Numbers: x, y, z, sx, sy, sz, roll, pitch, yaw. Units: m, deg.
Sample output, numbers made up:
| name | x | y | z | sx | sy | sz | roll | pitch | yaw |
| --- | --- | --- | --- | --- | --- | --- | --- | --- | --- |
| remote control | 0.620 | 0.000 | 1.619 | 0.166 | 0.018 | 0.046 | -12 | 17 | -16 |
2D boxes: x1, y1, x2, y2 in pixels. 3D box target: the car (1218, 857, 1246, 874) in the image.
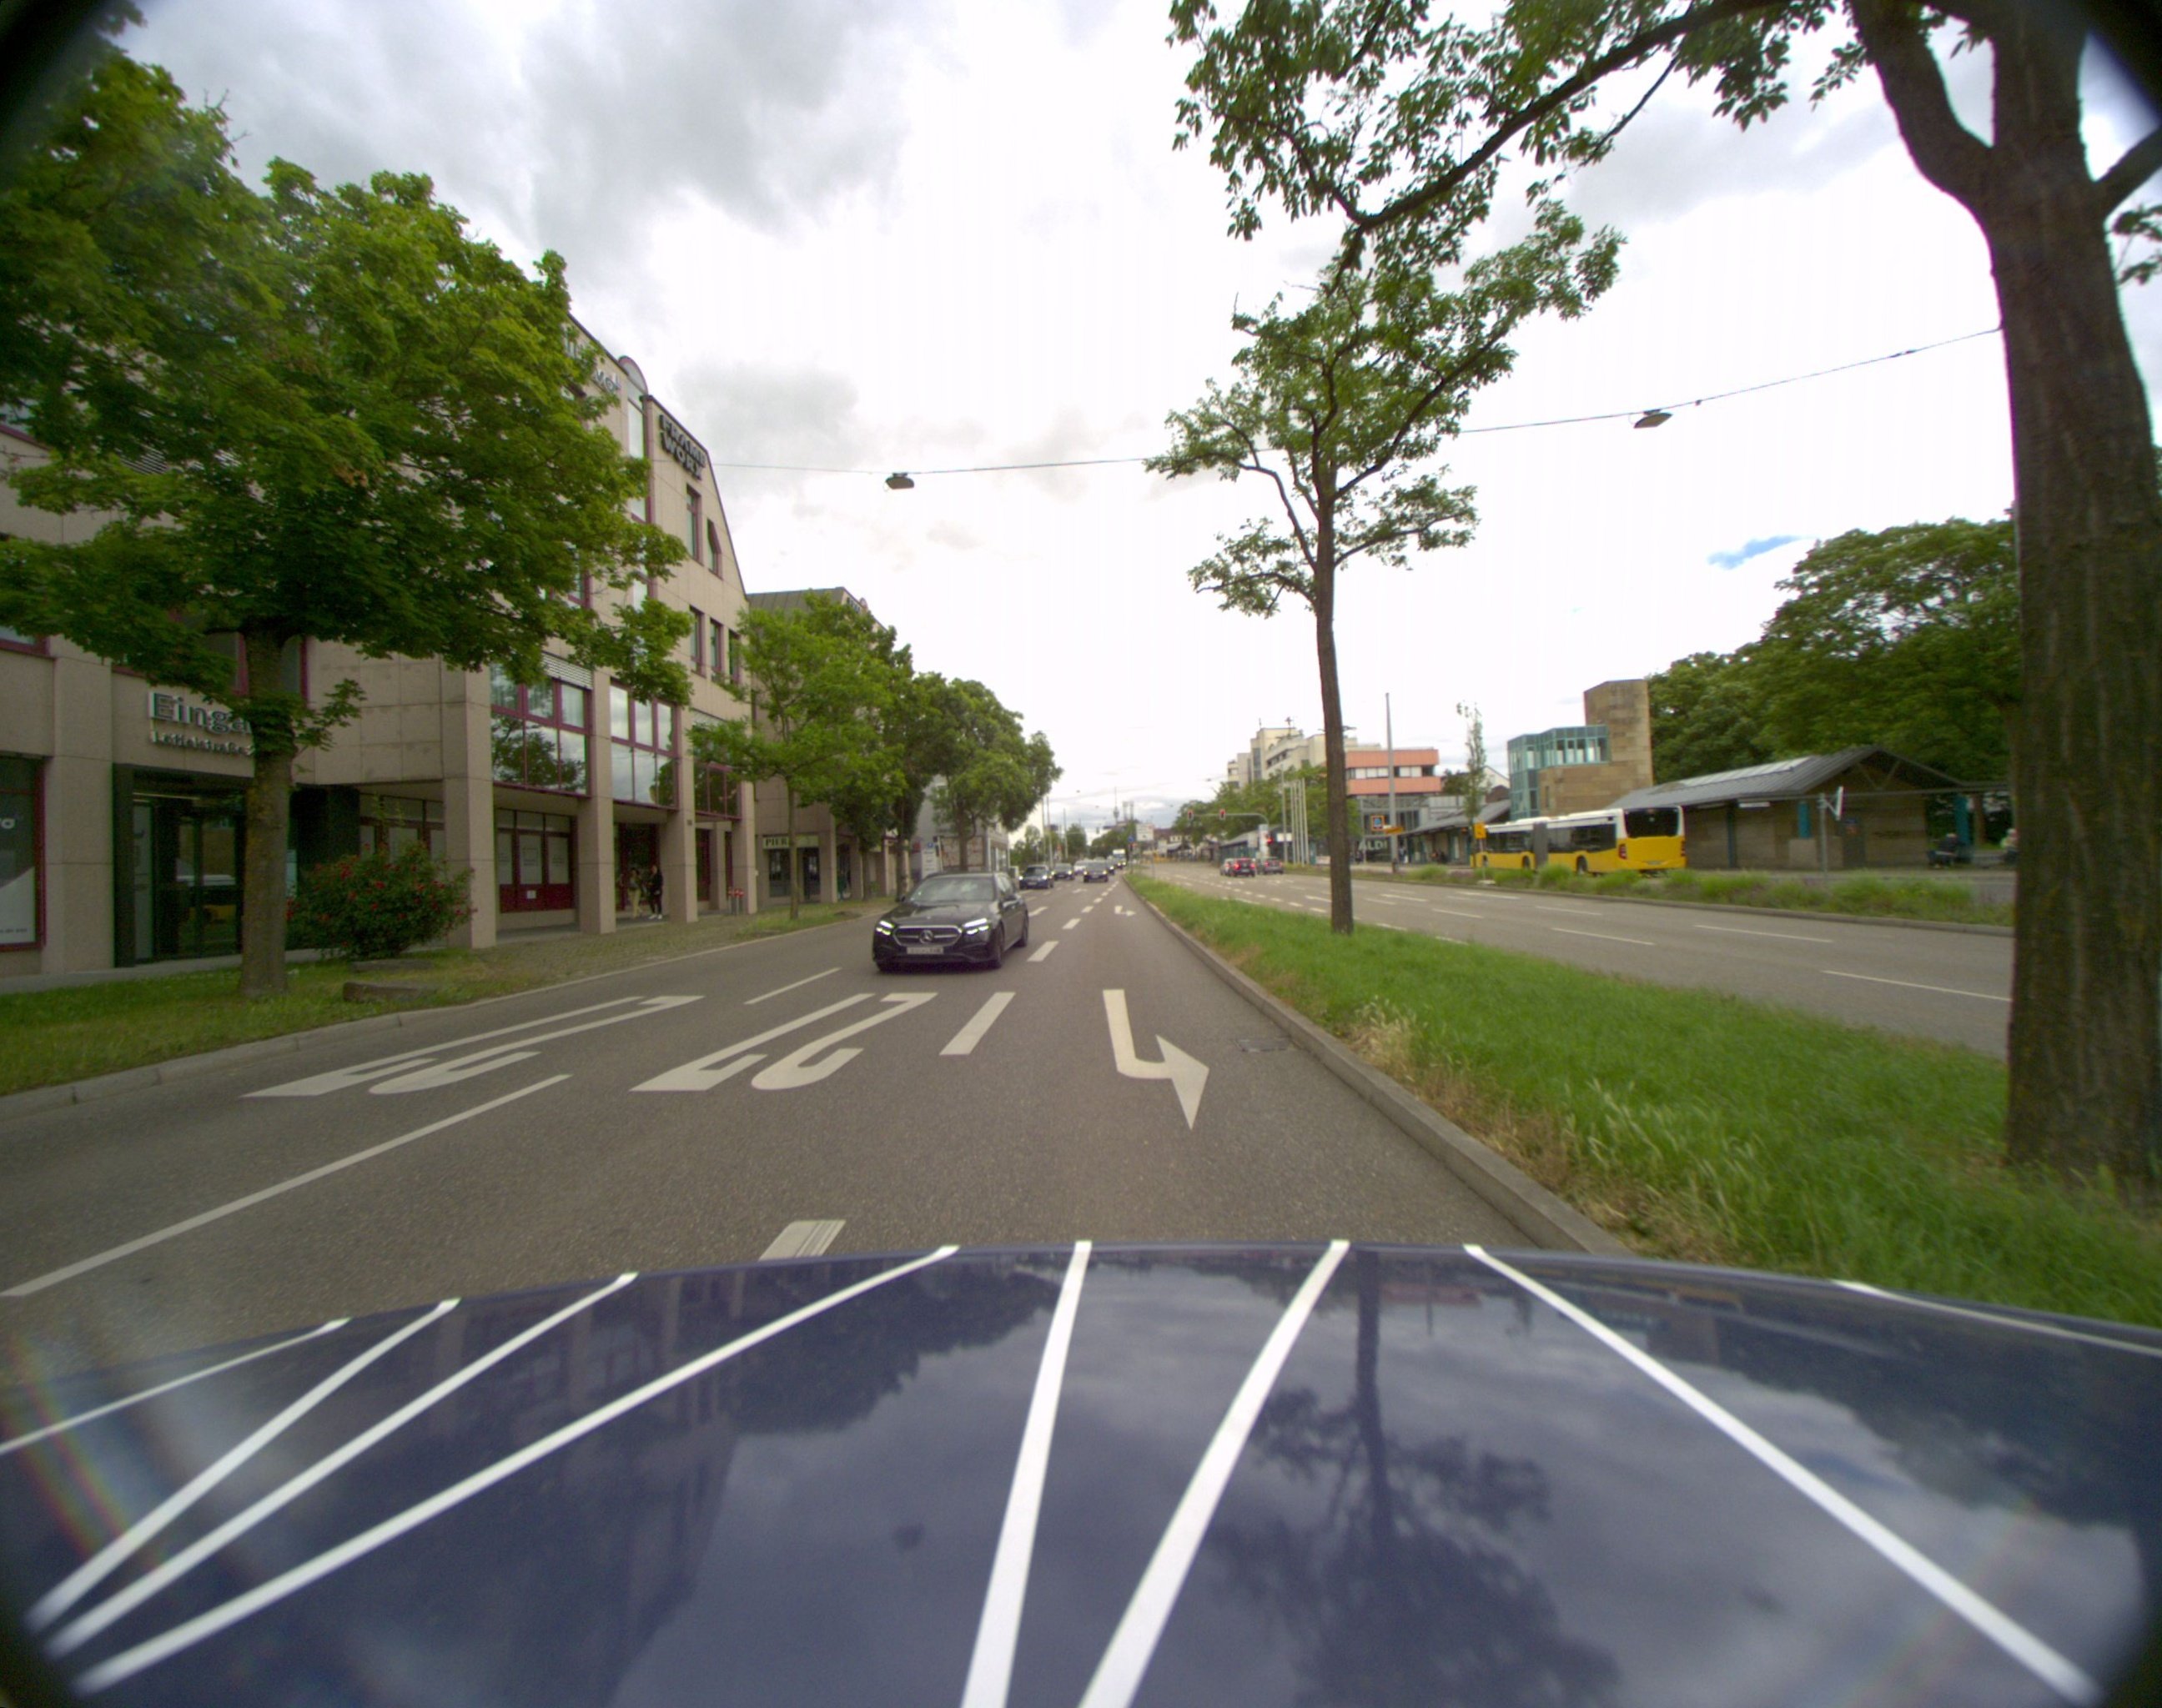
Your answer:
| name | x | y | z | sx | sy | sz | roll | pitch | yaw |
| --- | --- | --- | --- | --- | --- | --- | --- | --- | --- |
| car | 13.360 | 1.035 | 67.510 | 1.749 | 1.456 | 3.791 | -2 | -1 | 1 |

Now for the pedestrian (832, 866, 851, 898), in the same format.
| name | x | y | z | sx | sy | sz | roll | pitch | yaw |
| --- | --- | --- | --- | --- | --- | --- | --- | --- | --- |
| pedestrian | -12.597 | 1.453 | 39.950 | 0.659 | 1.681 | 0.843 | 0 | 0 | 4 |

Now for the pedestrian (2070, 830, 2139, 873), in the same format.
| name | x | y | z | sx | sy | sz | roll | pitch | yaw |
| --- | --- | --- | --- | --- | --- | --- | --- | --- | --- |
| pedestrian | 31.135 | -0.076 | 23.128 | 0.895 | 1.247 | 0.858 | -2 | 0 | 1 |

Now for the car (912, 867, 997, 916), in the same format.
| name | x | y | z | sx | sy | sz | roll | pitch | yaw |
| --- | --- | --- | --- | --- | --- | --- | --- | --- | --- |
| car | -4.342 | 1.248 | 26.818 | 1.798 | 1.464 | 4.701 | -2 | 0 | 5 |

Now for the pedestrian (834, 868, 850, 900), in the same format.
| name | x | y | z | sx | sy | sz | roll | pitch | yaw |
| --- | --- | --- | --- | --- | --- | --- | --- | --- | --- |
| pedestrian | -11.977 | 1.498 | 38.089 | 0.562 | 1.541 | 0.544 | 0 | 0 | 4 |

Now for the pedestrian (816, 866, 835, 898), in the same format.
| name | x | y | z | sx | sy | sz | roll | pitch | yaw |
| --- | --- | --- | --- | --- | --- | --- | --- | --- | --- |
| pedestrian | -13.452 | 1.465 | 39.957 | 0.659 | 1.681 | 0.843 | 0 | 0 | 4 |

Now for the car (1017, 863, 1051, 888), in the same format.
| name | x | y | z | sx | sy | sz | roll | pitch | yaw |
| --- | --- | --- | --- | --- | --- | --- | --- | --- | --- |
| car | -2.857 | 1.291 | 47.054 | 1.972 | 1.430 | 4.312 | 0 | 0 | -2 |

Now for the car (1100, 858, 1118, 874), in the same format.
| name | x | y | z | sx | sy | sz | roll | pitch | yaw |
| --- | --- | --- | --- | --- | --- | --- | --- | --- | --- |
| car | 2.903 | 1.240 | 79.611 | 1.763 | 1.531 | 4.048 | -1 | 0 | 1 |

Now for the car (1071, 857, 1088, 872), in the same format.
| name | x | y | z | sx | sy | sz | roll | pitch | yaw |
| --- | --- | --- | --- | --- | --- | --- | --- | --- | --- |
| car | -0.183 | 1.202 | 86.403 | 1.763 | 1.625 | 4.156 | -1 | 0 | 1 |

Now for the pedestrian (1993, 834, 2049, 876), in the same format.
| name | x | y | z | sx | sy | sz | roll | pitch | yaw |
| --- | --- | --- | --- | --- | --- | --- | --- | --- | --- |
| pedestrian | 29.484 | 0.039 | 23.842 | 0.859 | 1.282 | 0.894 | -2 | 0 | -23 |

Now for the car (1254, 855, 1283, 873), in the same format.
| name | x | y | z | sx | sy | sz | roll | pitch | yaw |
| --- | --- | --- | --- | --- | --- | --- | --- | --- | --- |
| car | 16.527 | 0.887 | 67.040 | 1.819 | 1.499 | 4.001 | -2 | 0 | 5 |

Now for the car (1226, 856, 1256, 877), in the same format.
| name | x | y | z | sx | sy | sz | roll | pitch | yaw |
| --- | --- | --- | --- | --- | --- | --- | --- | --- | --- |
| car | 12.842 | 0.980 | 61.136 | 1.662 | 1.499 | 3.769 | -2 | 0 | 1 |

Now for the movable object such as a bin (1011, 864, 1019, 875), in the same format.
| name | x | y | z | sx | sy | sz | roll | pitch | yaw |
| --- | --- | --- | --- | --- | --- | --- | --- | --- | --- |
| movable object such as a bin | -6.553 | 1.518 | 75.319 | 0.610 | 1.097 | 0.710 | -2 | 0 | 3 |

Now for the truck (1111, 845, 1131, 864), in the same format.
| name | x | y | z | sx | sy | sz | roll | pitch | yaw |
| --- | --- | --- | --- | --- | --- | --- | --- | --- | --- |
| truck | 7.171 | 0.148 | 138.360 | 3.119 | 3.208 | 6.524 | -2 | 0 | -1 |

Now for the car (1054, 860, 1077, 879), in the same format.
| name | x | y | z | sx | sy | sz | roll | pitch | yaw |
| --- | --- | --- | --- | --- | --- | --- | --- | --- | --- |
| car | -1.298 | 1.275 | 64.320 | 1.769 | 1.440 | 4.419 | -2 | 0 | -1 |

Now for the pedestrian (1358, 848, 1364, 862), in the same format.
| name | x | y | z | sx | sy | sz | roll | pitch | yaw |
| --- | --- | --- | --- | --- | --- | --- | --- | --- | --- |
| pedestrian | 32.705 | 0.126 | 88.875 | 0.485 | 1.539 | 0.383 | -2 | 0 | -8 |

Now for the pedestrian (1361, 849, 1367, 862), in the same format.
| name | x | y | z | sx | sy | sz | roll | pitch | yaw |
| --- | --- | --- | --- | --- | --- | --- | --- | --- | --- |
| pedestrian | 33.294 | 0.190 | 89.361 | 0.485 | 1.539 | 0.383 | -3 | 0 | -19 |

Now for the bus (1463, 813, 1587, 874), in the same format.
| name | x | y | z | sx | sy | sz | roll | pitch | yaw |
| --- | --- | --- | --- | --- | --- | --- | --- | --- | --- |
| bus | 26.143 | -0.537 | 45.454 | 2.781 | 3.113 | 9.444 | -4 | -1 | 7 |

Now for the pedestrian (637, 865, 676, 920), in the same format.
| name | x | y | z | sx | sy | sz | roll | pitch | yaw |
| --- | --- | --- | --- | --- | --- | --- | --- | --- | --- |
| pedestrian | -13.488 | 1.217 | 24.179 | 0.596 | 1.695 | 0.970 | -2 | 0 | 5 |

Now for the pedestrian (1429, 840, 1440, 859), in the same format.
| name | x | y | z | sx | sy | sz | roll | pitch | yaw |
| --- | --- | --- | --- | --- | --- | --- | --- | --- | --- |
| pedestrian | 30.388 | -0.366 | 65.349 | 0.621 | 1.640 | 0.658 | -2 | 0 | 5 |

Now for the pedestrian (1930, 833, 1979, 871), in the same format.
| name | x | y | z | sx | sy | sz | roll | pitch | yaw |
| --- | --- | --- | --- | --- | --- | --- | --- | --- | --- |
| pedestrian | 29.610 | -0.067 | 25.767 | 0.859 | 1.247 | 0.894 | -2 | 0 | -28 |

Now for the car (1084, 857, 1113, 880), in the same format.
| name | x | y | z | sx | sy | sz | roll | pitch | yaw |
| --- | --- | --- | --- | --- | --- | --- | --- | --- | --- |
| car | 1.265 | 1.096 | 57.585 | 1.972 | 1.630 | 4.312 | -1 | 0 | -2 |

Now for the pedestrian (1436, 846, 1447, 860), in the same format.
| name | x | y | z | sx | sy | sz | roll | pitch | yaw |
| --- | --- | --- | --- | --- | --- | --- | --- | --- | --- |
| pedestrian | 30.436 | -0.068 | 64.073 | 0.621 | 1.114 | 0.658 | -2 | 0 | 5 |

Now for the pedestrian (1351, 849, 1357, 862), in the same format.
| name | x | y | z | sx | sy | sz | roll | pitch | yaw |
| --- | --- | --- | --- | --- | --- | --- | --- | --- | --- |
| pedestrian | 31.955 | 0.145 | 88.979 | 0.529 | 1.539 | 0.754 | -2 | 0 | 16 |

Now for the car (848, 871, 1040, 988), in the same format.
| name | x | y | z | sx | sy | sz | roll | pitch | yaw |
| --- | --- | --- | --- | --- | --- | --- | --- | --- | --- |
| car | -2.049 | 1.108 | 13.031 | 2.058 | 1.477 | 4.974 | -2 | 0 | 4 |

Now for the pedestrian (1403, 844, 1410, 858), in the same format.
| name | x | y | z | sx | sy | sz | roll | pitch | yaw |
| --- | --- | --- | --- | --- | --- | --- | --- | --- | --- |
| pedestrian | 33.714 | -0.303 | 78.723 | 0.590 | 1.452 | 0.994 | -2 | 0 | 20 |

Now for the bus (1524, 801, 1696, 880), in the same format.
| name | x | y | z | sx | sy | sz | roll | pitch | yaw |
| --- | --- | --- | --- | --- | --- | --- | --- | --- | --- |
| bus | 24.859 | -0.545 | 36.499 | 2.815 | 3.113 | 9.306 | -4 | -1 | 9 |

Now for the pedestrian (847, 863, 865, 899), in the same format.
| name | x | y | z | sx | sy | sz | roll | pitch | yaw |
| --- | --- | --- | --- | --- | --- | --- | --- | --- | --- |
| pedestrian | -11.785 | 1.403 | 39.819 | 0.659 | 1.815 | 0.843 | 0 | 0 | 4 |

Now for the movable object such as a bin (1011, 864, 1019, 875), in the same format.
| name | x | y | z | sx | sy | sz | roll | pitch | yaw |
| --- | --- | --- | --- | --- | --- | --- | --- | --- | --- |
| movable object such as a bin | -6.600 | 1.565 | 76.298 | 0.627 | 1.097 | 0.710 | -2 | 0 | 3 |

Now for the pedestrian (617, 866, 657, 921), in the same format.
| name | x | y | z | sx | sy | sz | roll | pitch | yaw |
| --- | --- | --- | --- | --- | --- | --- | --- | --- | --- |
| pedestrian | -14.201 | 1.262 | 24.336 | 0.596 | 1.695 | 0.970 | -2 | 0 | 5 |
